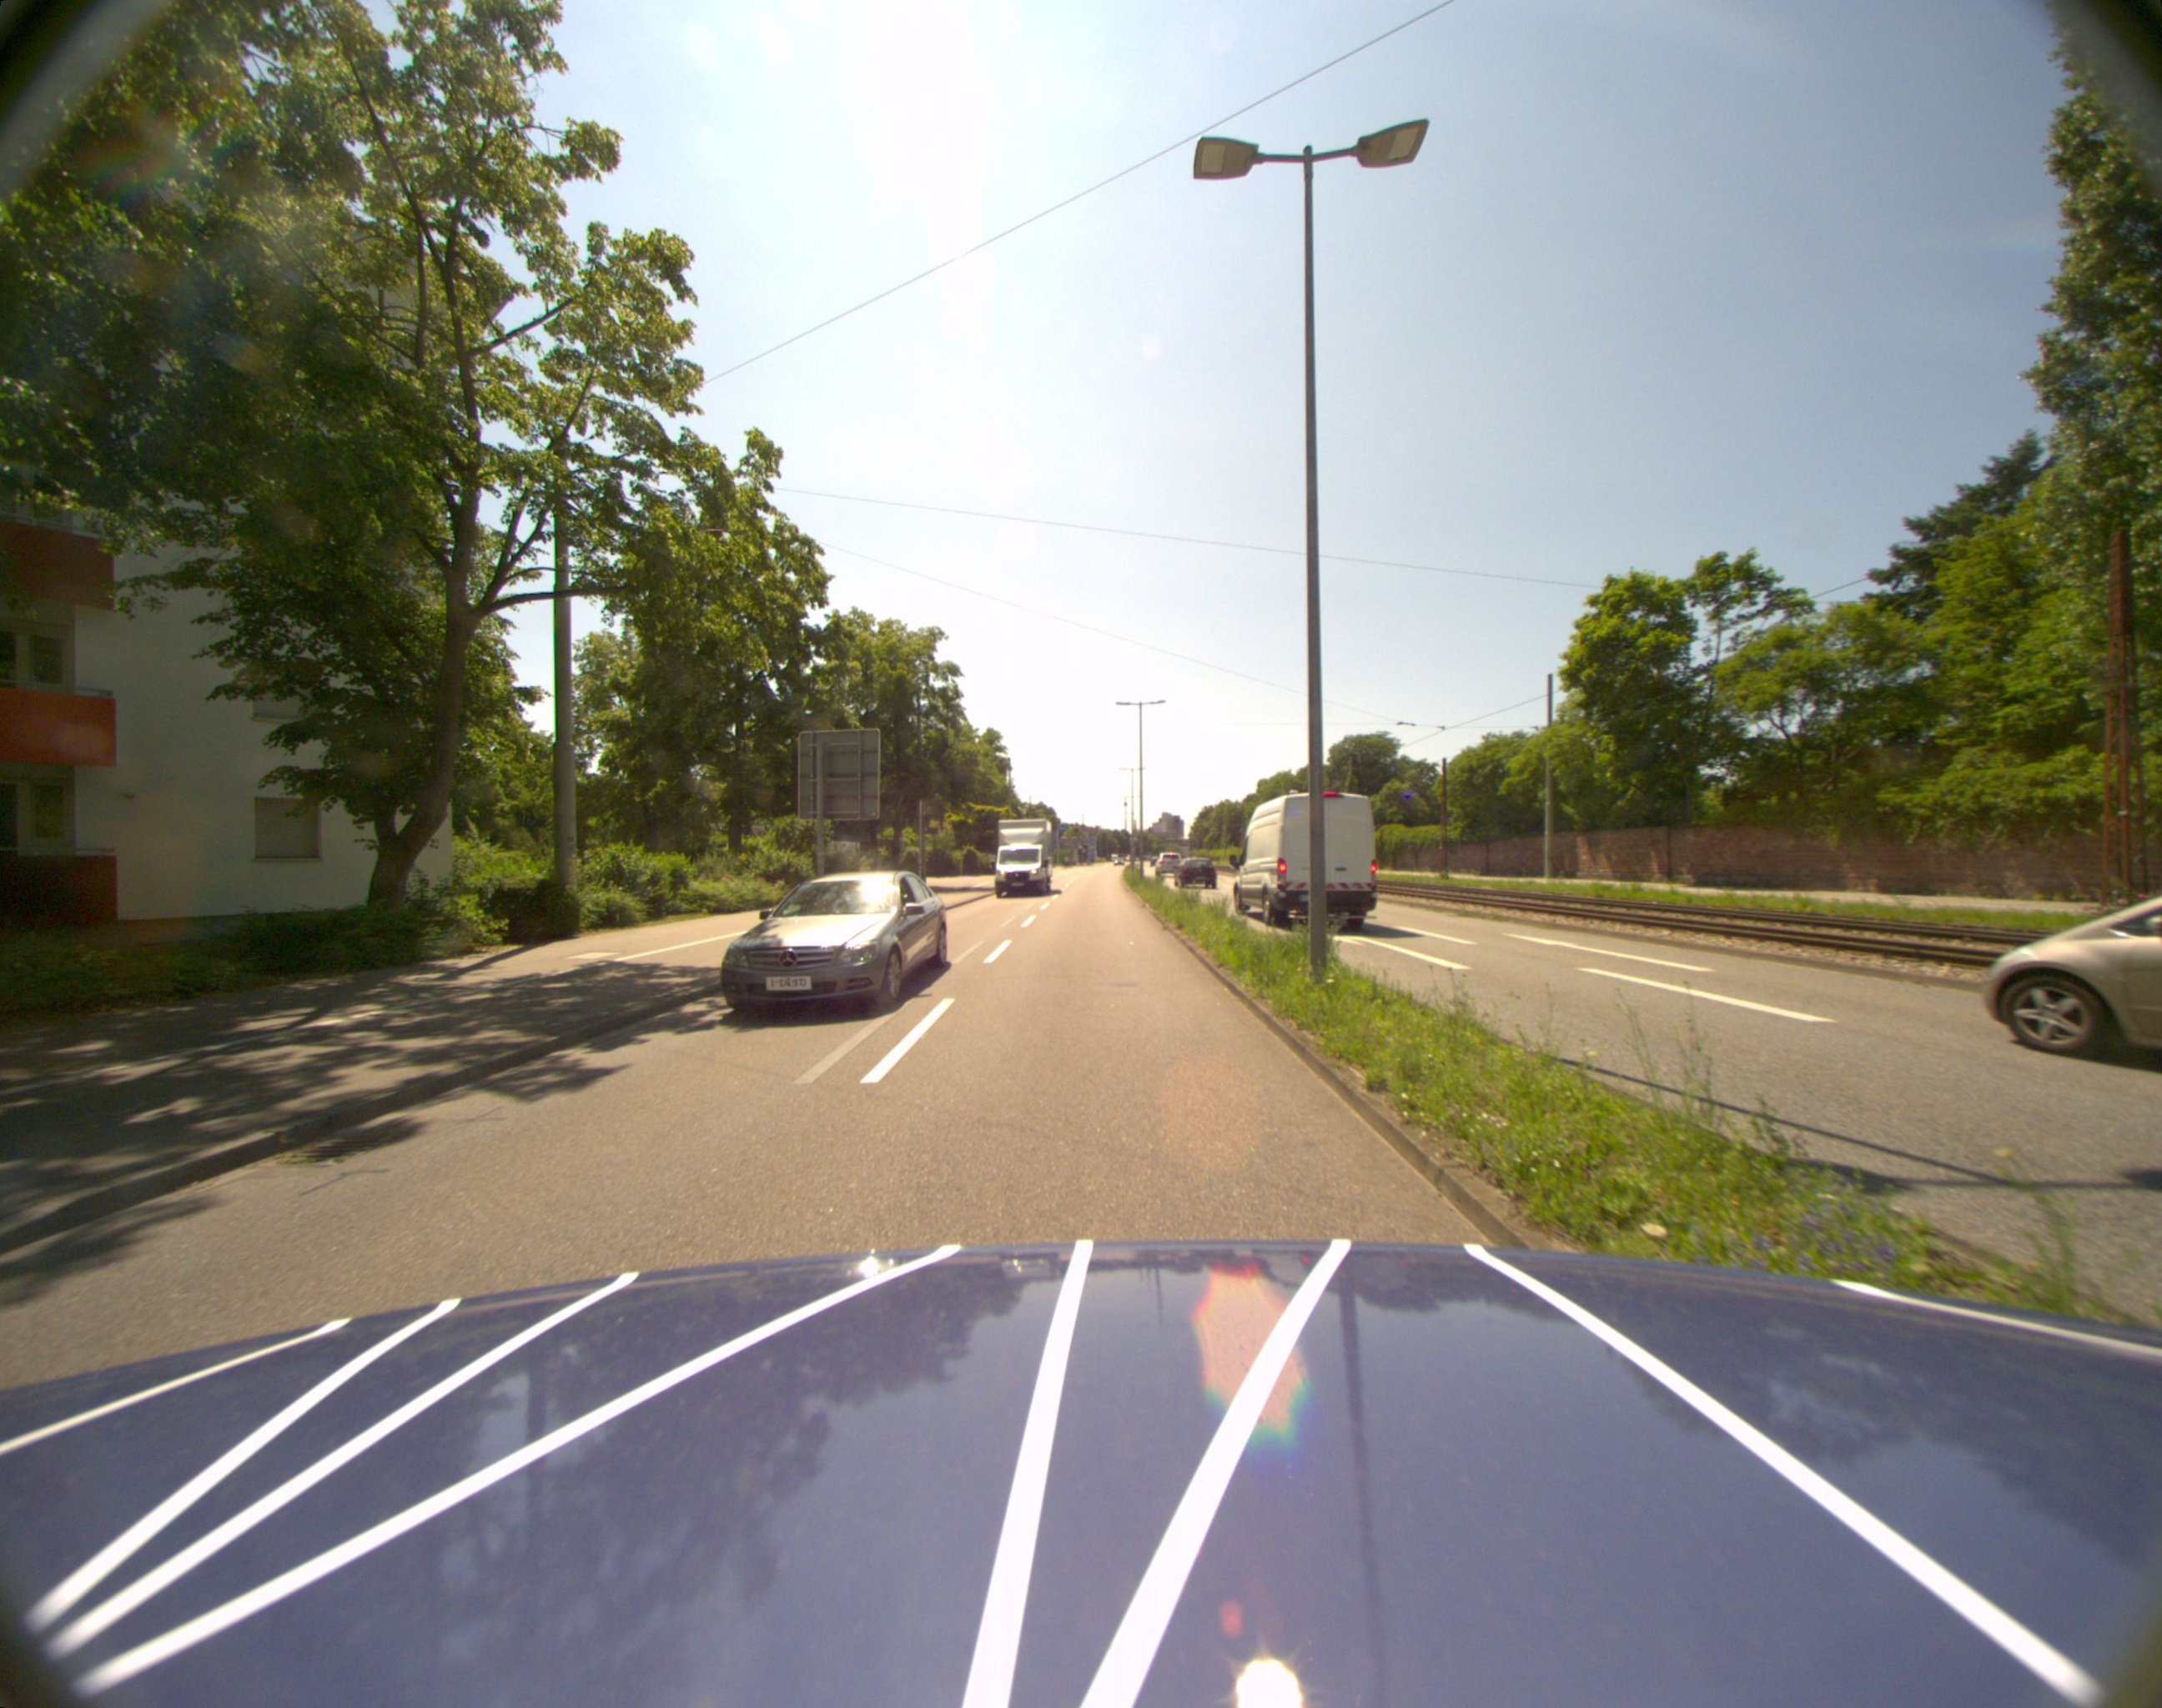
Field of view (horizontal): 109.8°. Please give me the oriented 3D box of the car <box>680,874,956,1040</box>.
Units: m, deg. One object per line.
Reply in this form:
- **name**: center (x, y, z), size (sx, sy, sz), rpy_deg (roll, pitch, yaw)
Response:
- **car**: center (-2.897, 1.060, 9.404), size (1.903, 1.451, 3.971), rpy_deg (-2, 0, 1)

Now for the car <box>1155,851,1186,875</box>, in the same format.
- **car**: center (6.697, 0.640, 57.459), size (1.904, 1.738, 4.588), rpy_deg (0, 0, 2)

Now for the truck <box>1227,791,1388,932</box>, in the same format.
- **truck**: center (4.931, 0.152, 17.545), size (2.086, 2.732, 5.547), rpy_deg (0, 0, 1)

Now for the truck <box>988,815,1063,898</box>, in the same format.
- **truck**: center (-2.333, 0.072, 34.745), size (2.294, 3.259, 8.313), rpy_deg (-1, 0, 3)

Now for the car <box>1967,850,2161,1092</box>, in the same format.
- **car**: center (7.965, 0.773, 4.150), size (1.834, 1.576, 3.771), rpy_deg (1, 0, 0)

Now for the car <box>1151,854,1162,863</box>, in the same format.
- **car**: center (12.197, 0.758, 122.746), size (1.698, 1.462, 3.791), rpy_deg (0, 0, 4)

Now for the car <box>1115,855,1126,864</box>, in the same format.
- **car**: center (7.109, 0.934, 136.531), size (1.829, 1.556, 4.001), rpy_deg (-1, 0, 4)

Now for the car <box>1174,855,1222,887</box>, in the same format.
- **car**: center (5.554, 0.768, 36.522), size (1.720, 1.450, 3.914), rpy_deg (0, 0, 1)
